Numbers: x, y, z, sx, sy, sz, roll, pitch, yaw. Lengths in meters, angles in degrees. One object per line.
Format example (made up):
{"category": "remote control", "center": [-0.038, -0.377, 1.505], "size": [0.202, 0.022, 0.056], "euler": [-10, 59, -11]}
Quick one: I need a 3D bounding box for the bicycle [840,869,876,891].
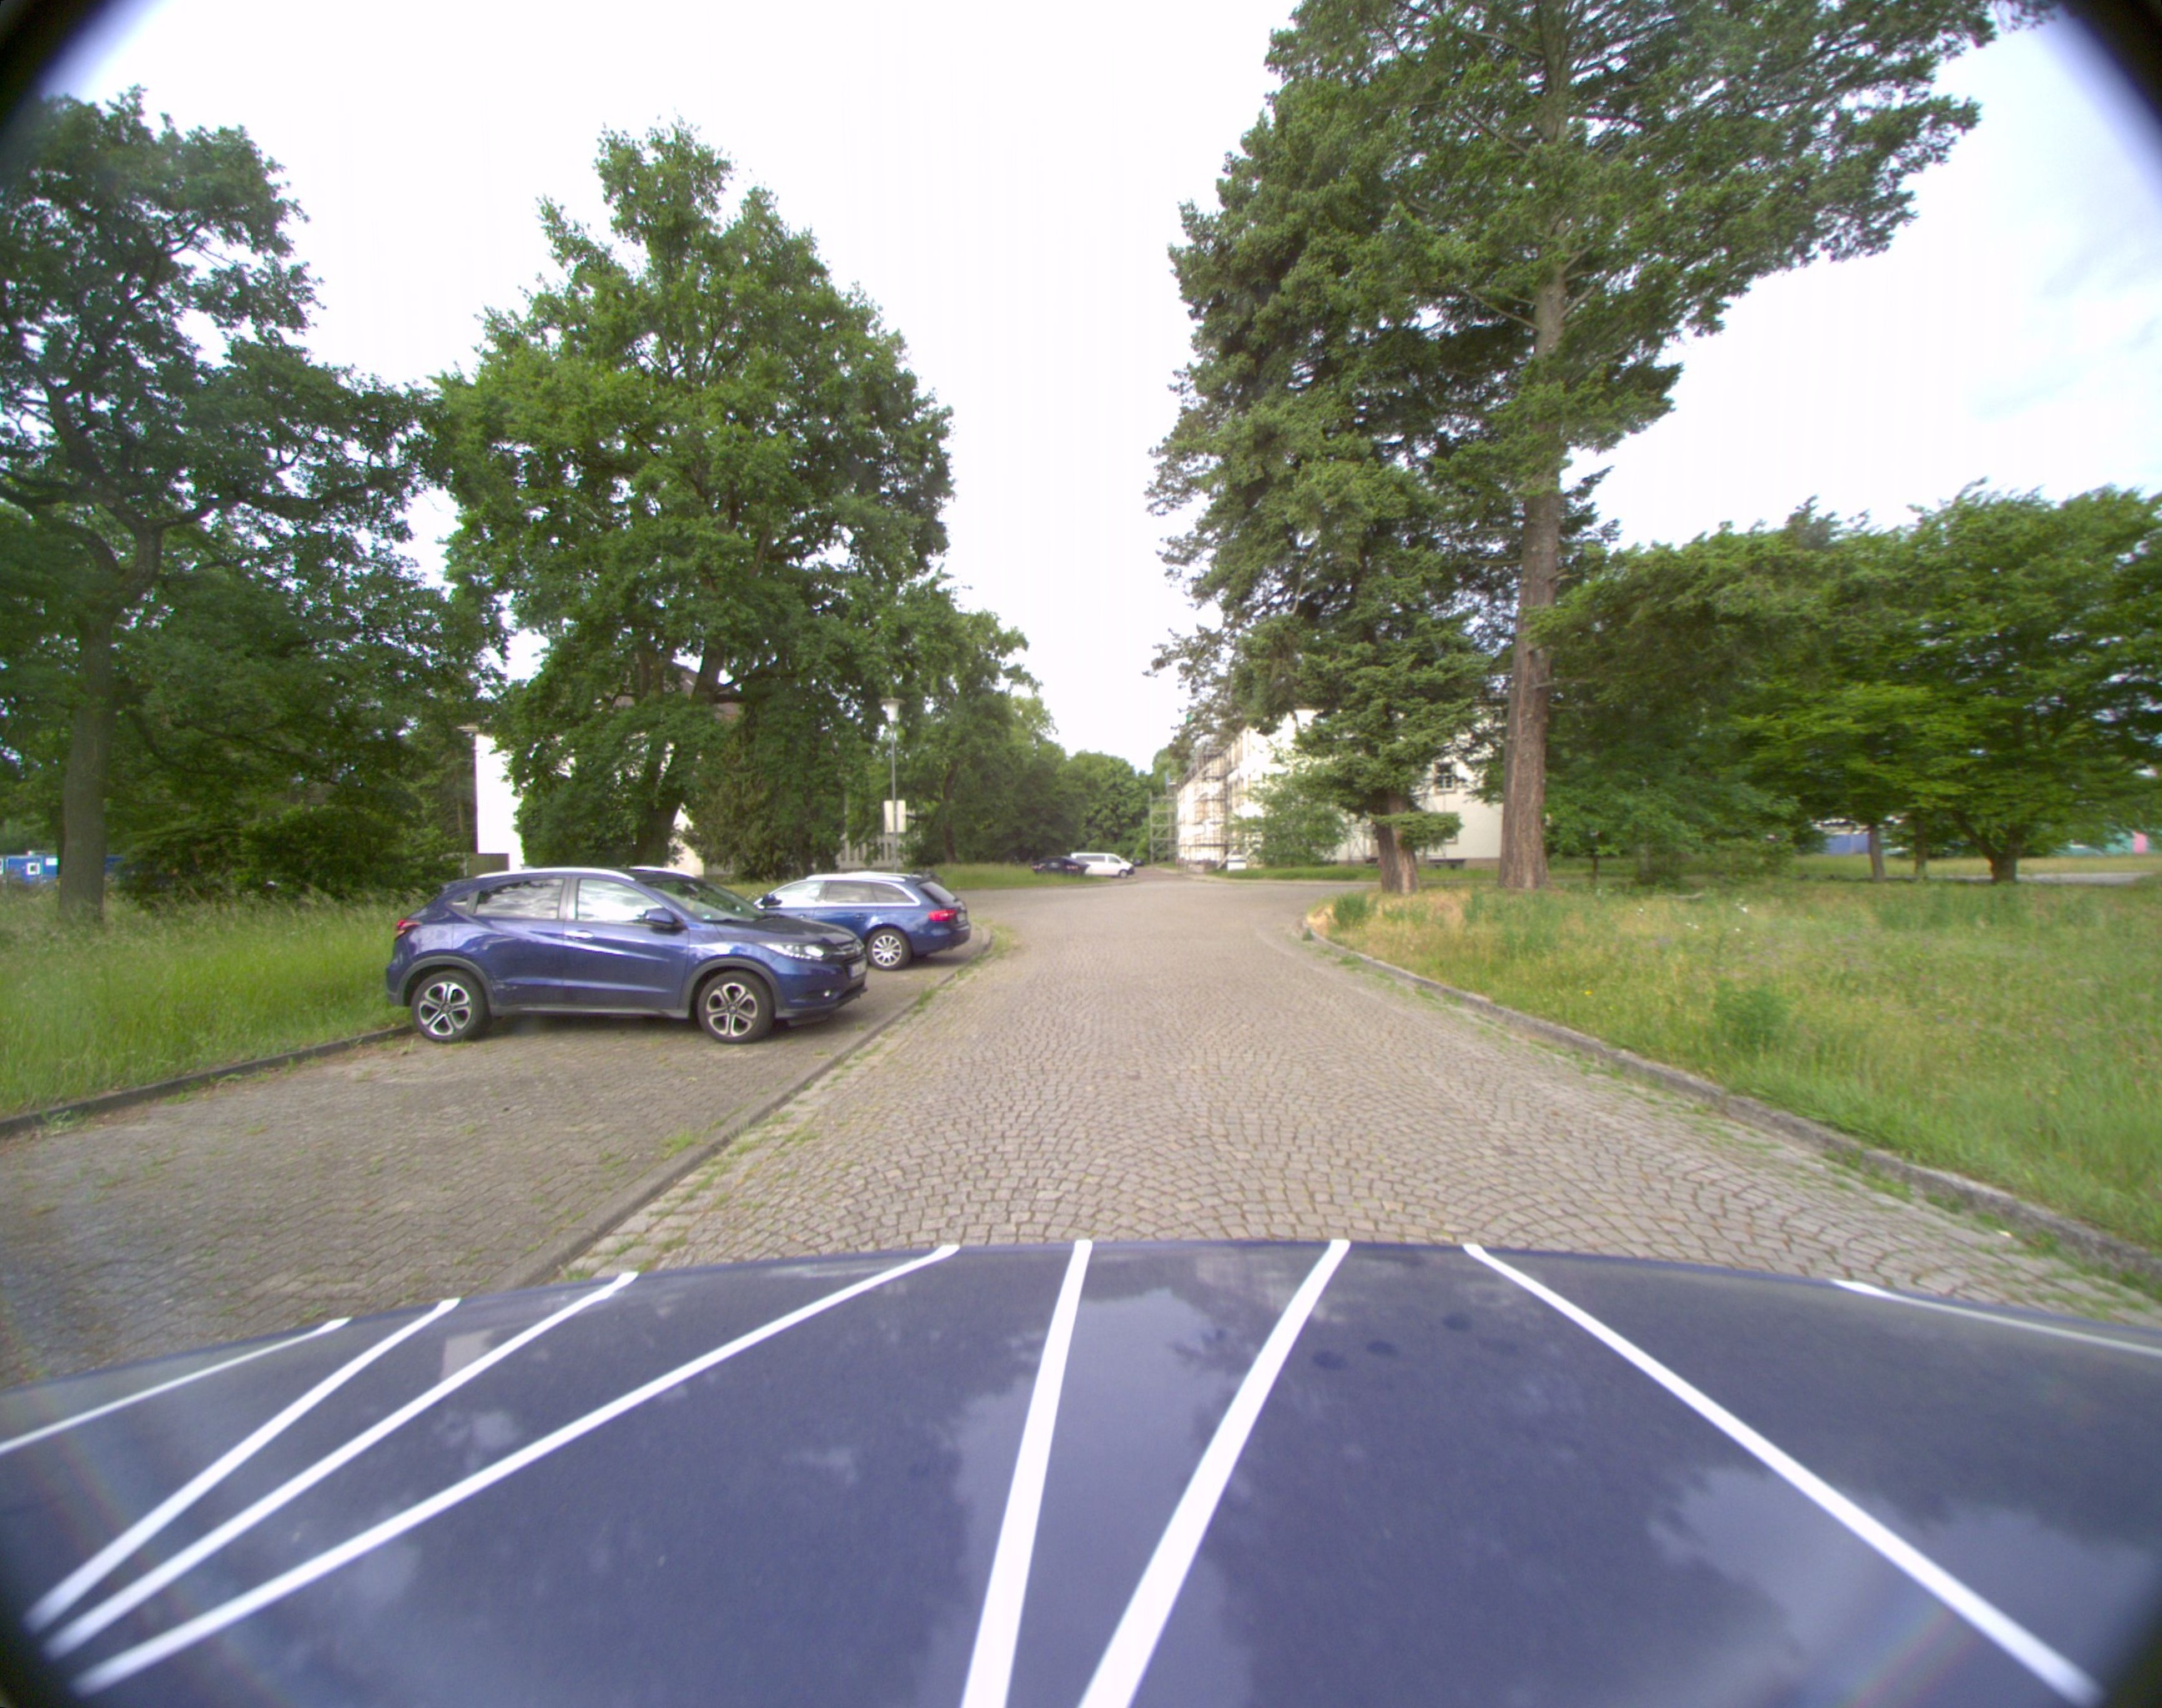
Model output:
{"category": "bicycle", "center": [-12.292, 1.433, 41.886], "size": [1.859, 1.116, 0.621], "euler": [-2, 1, -21]}

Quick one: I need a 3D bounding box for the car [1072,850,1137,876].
{"category": "car", "center": [1.864, 0.709, 60.898], "size": [5.100, 2.007, 2.055], "euler": [0, 1, 1]}

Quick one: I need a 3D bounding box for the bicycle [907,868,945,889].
{"category": "bicycle", "center": [-8.675, 1.376, 42.516], "size": [1.976, 1.070, 0.587], "euler": [-2, 1, -25]}

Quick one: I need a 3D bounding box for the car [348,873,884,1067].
{"category": "car", "center": [-4.298, 1.042, 7.512], "size": [4.172, 1.562, 1.793], "euler": [-1, 1, 2]}

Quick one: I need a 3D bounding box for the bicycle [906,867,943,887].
{"category": "bicycle", "center": [-9.183, 1.337, 44.638], "size": [2.032, 1.070, 0.621], "euler": [-2, 1, -21]}

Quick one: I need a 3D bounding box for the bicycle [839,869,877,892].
{"category": "bicycle", "center": [-12.111, 1.429, 41.270], "size": [1.859, 1.116, 0.621], "euler": [-2, 1, -21]}

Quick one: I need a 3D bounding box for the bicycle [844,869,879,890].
{"category": "bicycle", "center": [-12.596, 1.438, 43.556], "size": [1.859, 1.116, 0.621], "euler": [-2, 1, -21]}

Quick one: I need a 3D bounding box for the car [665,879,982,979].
{"category": "car", "center": [-3.990, 1.137, 12.204], "size": [4.479, 1.413, 1.785], "euler": [0, 0, 5]}

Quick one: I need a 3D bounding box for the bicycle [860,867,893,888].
{"category": "bicycle", "center": [-12.319, 1.408, 45.768], "size": [1.859, 1.116, 0.621], "euler": [-2, 1, -21]}

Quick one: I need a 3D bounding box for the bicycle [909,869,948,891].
{"category": "bicycle", "center": [-8.211, 1.399, 40.919], "size": [1.976, 1.070, 0.587], "euler": [-2, 1, -25]}
